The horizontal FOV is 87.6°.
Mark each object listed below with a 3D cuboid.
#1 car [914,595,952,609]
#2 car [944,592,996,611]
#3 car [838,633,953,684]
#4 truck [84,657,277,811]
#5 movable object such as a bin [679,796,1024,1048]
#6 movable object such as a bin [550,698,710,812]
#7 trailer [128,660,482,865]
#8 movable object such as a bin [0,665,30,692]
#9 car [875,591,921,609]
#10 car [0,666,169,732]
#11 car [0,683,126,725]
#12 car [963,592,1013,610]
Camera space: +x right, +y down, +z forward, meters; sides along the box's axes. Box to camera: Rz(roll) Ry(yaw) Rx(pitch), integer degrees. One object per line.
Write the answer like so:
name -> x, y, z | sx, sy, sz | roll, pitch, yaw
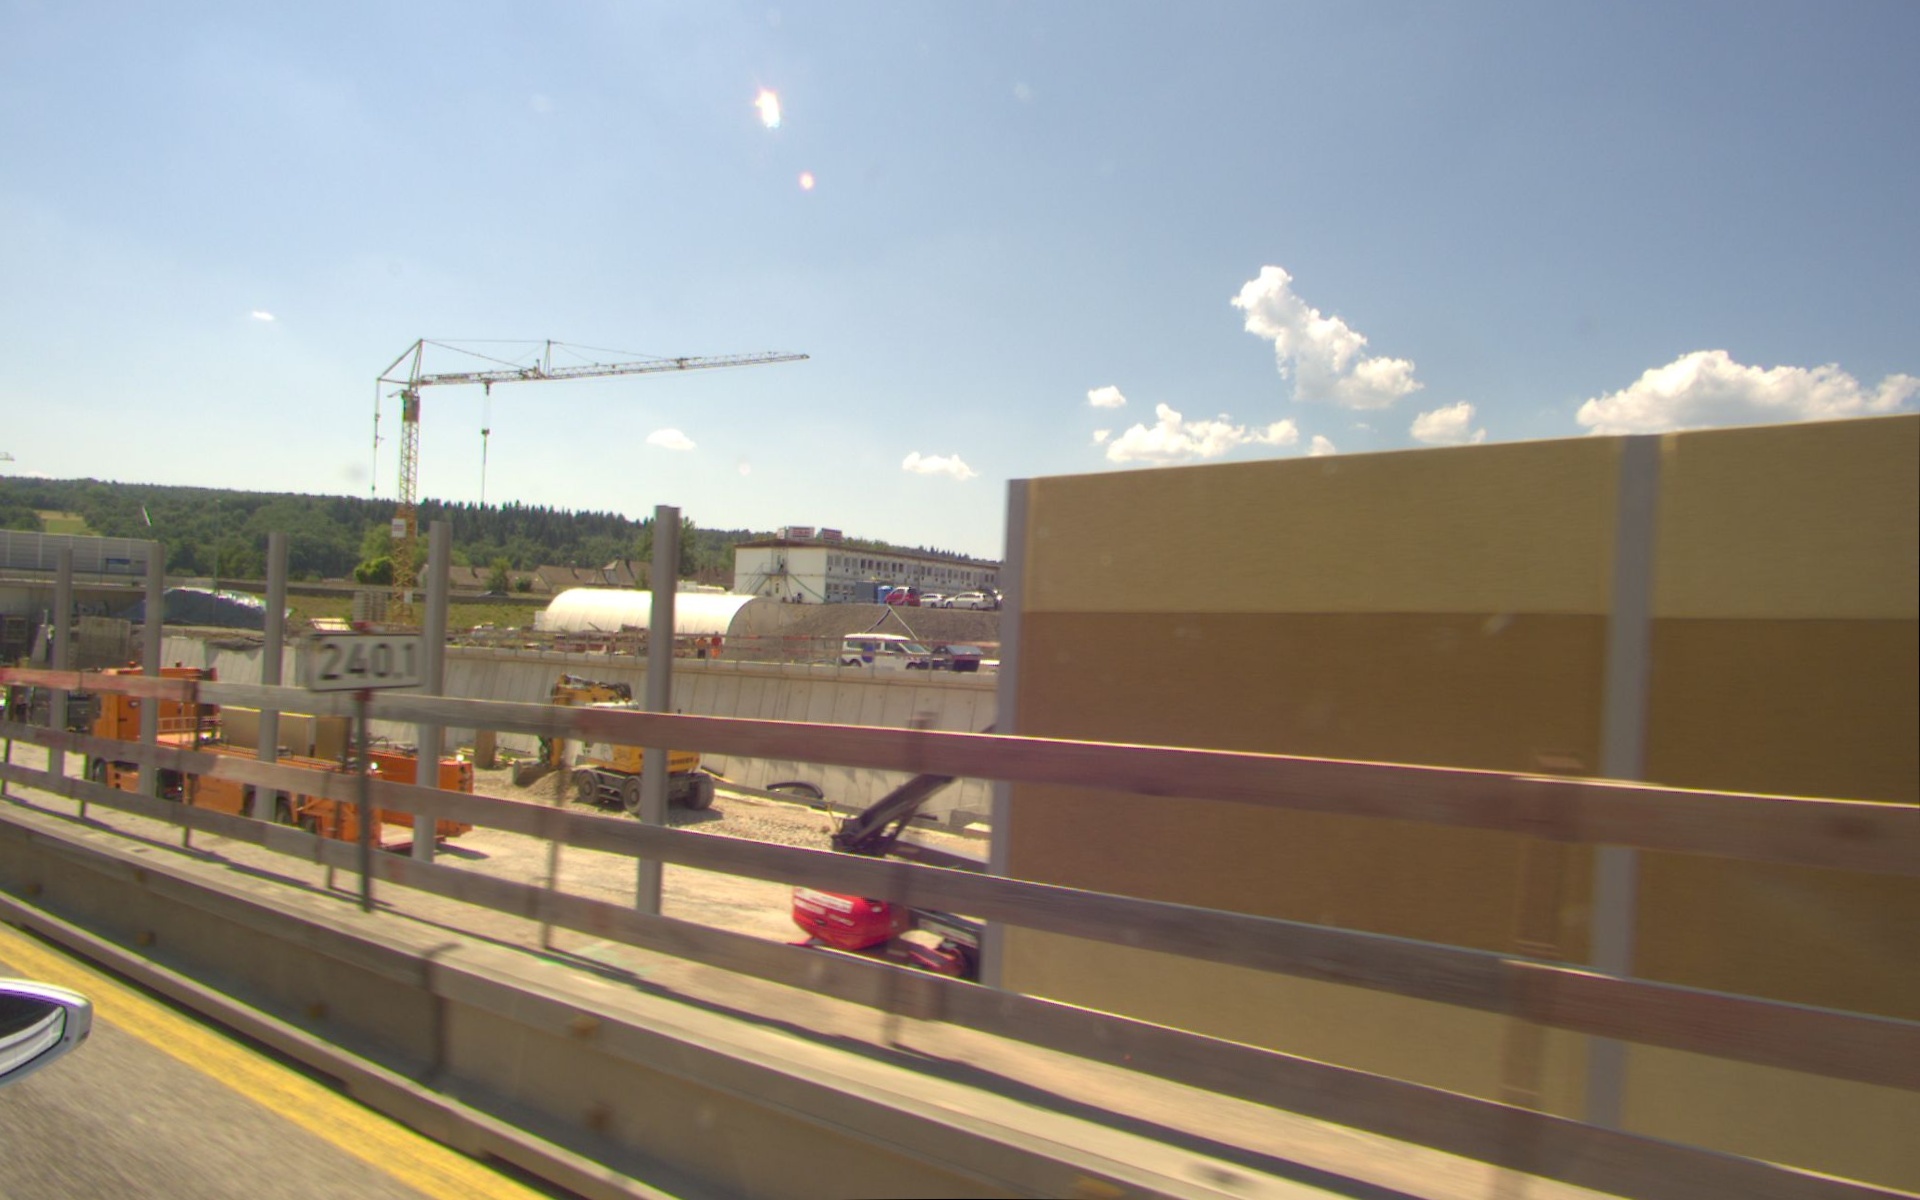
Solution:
car -> -2.614, 0.238, 96.476 | 3.382, 1.297, 1.511 | 0, -2, 34
car -> 0.820, 0.127, 83.637 | 4.018, 1.537, 1.677 | 0, -2, 34
car -> -2.802, 2.455, 43.042 | 4.753, 2.039, 1.804 | 0, -1, 30
truck -> -23.142, 3.747, 29.673 | 5.799, 3.936, 2.753 | 0, -1, 33
movable object such as a bin -> -1.666, 4.480, 14.826 | 4.754, 2.461, 2.165 | -1, -3, 33
movable object such as a bin -> -10.413, 4.736, 31.485 | 4.754, 3.061, 2.276 | -1, -3, 34
trailer -> -17.321, 3.707, 25.841 | 12.866, 3.936, 2.753 | 0, -1, 34
movable object such as a bin -> -58.502, 4.733, 60.453 | 3.056, 1.583, 1.549 | 1, -1, -22
car -> -4.875, 0.017, 78.219 | 3.382, 1.333, 1.511 | 0, -2, 34
car -> -40.086, 4.373, 45.391 | 2.486, 2.617, 6.097 | 2, -2, 23
car -> -44.863, 5.137, 49.828 | 1.971, 1.796, 4.721 | 2, -2, 33
car -> 2.409, 0.101, 85.758 | 4.018, 1.537, 1.677 | 0, -2, 34
